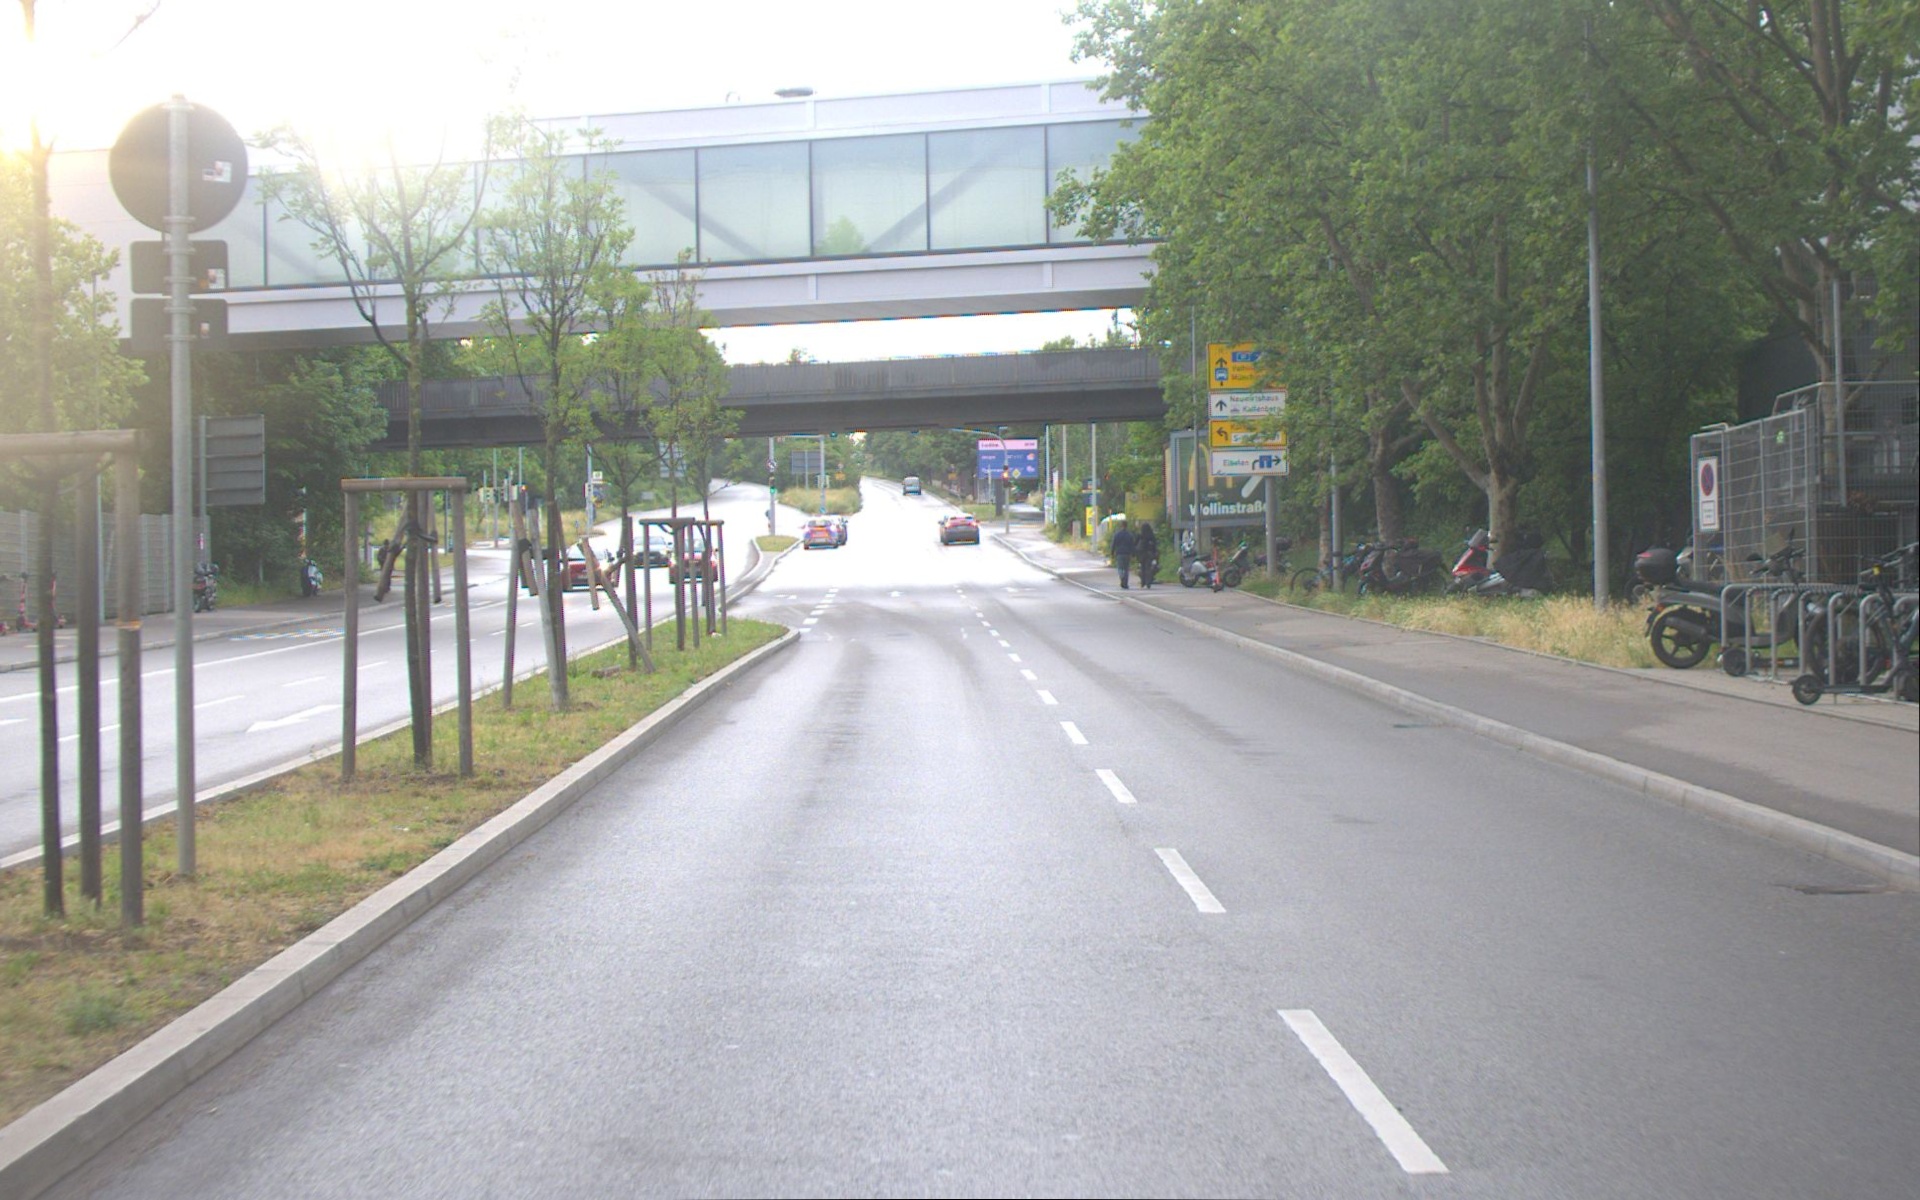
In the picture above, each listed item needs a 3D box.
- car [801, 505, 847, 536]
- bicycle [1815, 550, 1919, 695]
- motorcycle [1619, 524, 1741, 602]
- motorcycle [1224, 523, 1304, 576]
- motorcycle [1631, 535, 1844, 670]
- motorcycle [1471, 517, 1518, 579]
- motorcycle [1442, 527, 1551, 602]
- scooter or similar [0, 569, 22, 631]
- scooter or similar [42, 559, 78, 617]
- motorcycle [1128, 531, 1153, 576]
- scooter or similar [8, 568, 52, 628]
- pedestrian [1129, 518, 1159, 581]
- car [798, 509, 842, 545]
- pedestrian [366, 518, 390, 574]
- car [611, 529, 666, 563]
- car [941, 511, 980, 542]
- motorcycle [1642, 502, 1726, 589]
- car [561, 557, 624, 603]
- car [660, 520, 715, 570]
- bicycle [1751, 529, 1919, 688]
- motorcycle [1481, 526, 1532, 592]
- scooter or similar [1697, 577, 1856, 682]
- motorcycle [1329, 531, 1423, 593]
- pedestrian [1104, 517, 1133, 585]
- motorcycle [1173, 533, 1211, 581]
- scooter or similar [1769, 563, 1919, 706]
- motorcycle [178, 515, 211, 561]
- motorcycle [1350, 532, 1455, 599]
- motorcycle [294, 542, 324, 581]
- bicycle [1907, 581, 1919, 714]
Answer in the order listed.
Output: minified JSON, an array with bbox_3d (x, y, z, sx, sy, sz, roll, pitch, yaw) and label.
[{"bbox_3d":[-7.120,-4.163,180.608,2.166,1.577,4.664,1,0,1],"label":"car"},{"bbox_3d":[8.087,0.168,28.642,1.788,1.163,0.448,-2,1,-7],"label":"bicycle"},{"bbox_3d":[11.893,-0.615,56.823,1.915,1.253,0.491,1,0,5],"label":"motorcycle"},{"bbox_3d":[7.647,-1.262,86.488,1.942,1.293,0.546,-1,1,34],"label":"motorcycle"},{"bbox_3d":[7.700,0.025,34.075,2.010,1.268,0.441,-2,1,12],"label":"motorcycle"},{"bbox_3d":[11.494,-1.132,73.873,0.348,1.275,2.068,-1,2,27],"label":"motorcycle"},{"bbox_3d":[8.366,-0.560,53.617,1.653,1.146,0.493,1,0,7],"label":"motorcycle"},{"bbox_3d":[-19.483,-0.002,70.124,0.311,1.214,1.308,-2,1,-1],"label":"scooter or similar"},{"bbox_3d":[-19.573,-0.267,74.773,0.311,1.214,1.308,-2,1,4],"label":"scooter or similar"},{"bbox_3d":[4.654,-1.210,88.464,0.469,1.133,1.819,-2,1,-1],"label":"motorcycle"},{"bbox_3d":[-19.553,-0.046,72.317,0.311,1.214,1.307,-1,1,11],"label":"scooter or similar"},{"bbox_3d":[4.730,-1.286,88.221,0.651,1.590,0.578,-2,1,11],"label":"pedestrian"},{"bbox_3d":[-6.950,-3.604,170.239,2.076,1.712,4.199,1,0,-3],"label":"car"},{"bbox_3d":[-19.056,-1.777,112.547,0.520,1.809,0.799,0,2,9],"label":"pedestrian"},{"bbox_3d":[-13.785,-2.323,147.509,2.063,1.357,4.758,-2,1,-2],"label":"car"},{"bbox_3d":[0.015,-3.628,169.569,1.744,1.465,4.167,-1,2,-2],"label":"car"},{"bbox_3d":[11.476,-0.859,54.546,0.504,1.360,1.504,1,0,-24],"label":"motorcycle"},{"bbox_3d":[-12.093,-0.671,113.251,1.715,1.432,3.772,-3,1,-2],"label":"car"},{"bbox_3d":[-9.329,-1.887,117.898,1.585,1.600,3.856,-3,1,-1],"label":"car"},{"bbox_3d":[7.979,0.058,30.426,1.857,1.343,0.448,-2,1,-13],"label":"bicycle"},{"bbox_3d":[10.888,-0.817,68.548,0.645,1.275,1.991,-1,1,-1],"label":"motorcycle"},{"bbox_3d":[7.761,0.275,32.672,1.472,0.933,0.367,-2,1,-18],"label":"scooter or similar"},{"bbox_3d":[8.794,-0.805,72.687,1.848,1.248,0.630,-2,1,-16],"label":"motorcycle"},{"bbox_3d":[4.077,-1.256,88.417,0.611,1.715,0.891,-2,1,9],"label":"pedestrian"},{"bbox_3d":[5.963,-1.110,88.427,0.469,1.209,1.945,-2,1,-10],"label":"motorcycle"},{"bbox_3d":[7.090,0.267,27.329,1.212,1.087,0.312,-2,1,-5],"label":"scooter or similar"},{"bbox_3d":[-20.737,-1.691,93.129,0.468,1.200,1.997,-2,2,-1],"label":"motorcycle"},{"bbox_3d":[8.190,-0.648,63.682,1.848,1.187,0.522,-2,1,-16],"label":"motorcycle"},{"bbox_3d":[-20.137,-1.198,106.355,0.468,1.154,1.932,-2,2,2],"label":"motorcycle"},{"bbox_3d":[8.063,0.337,26.221,1.551,1.001,0.393,-2,1,-1],"label":"bicycle"}]
